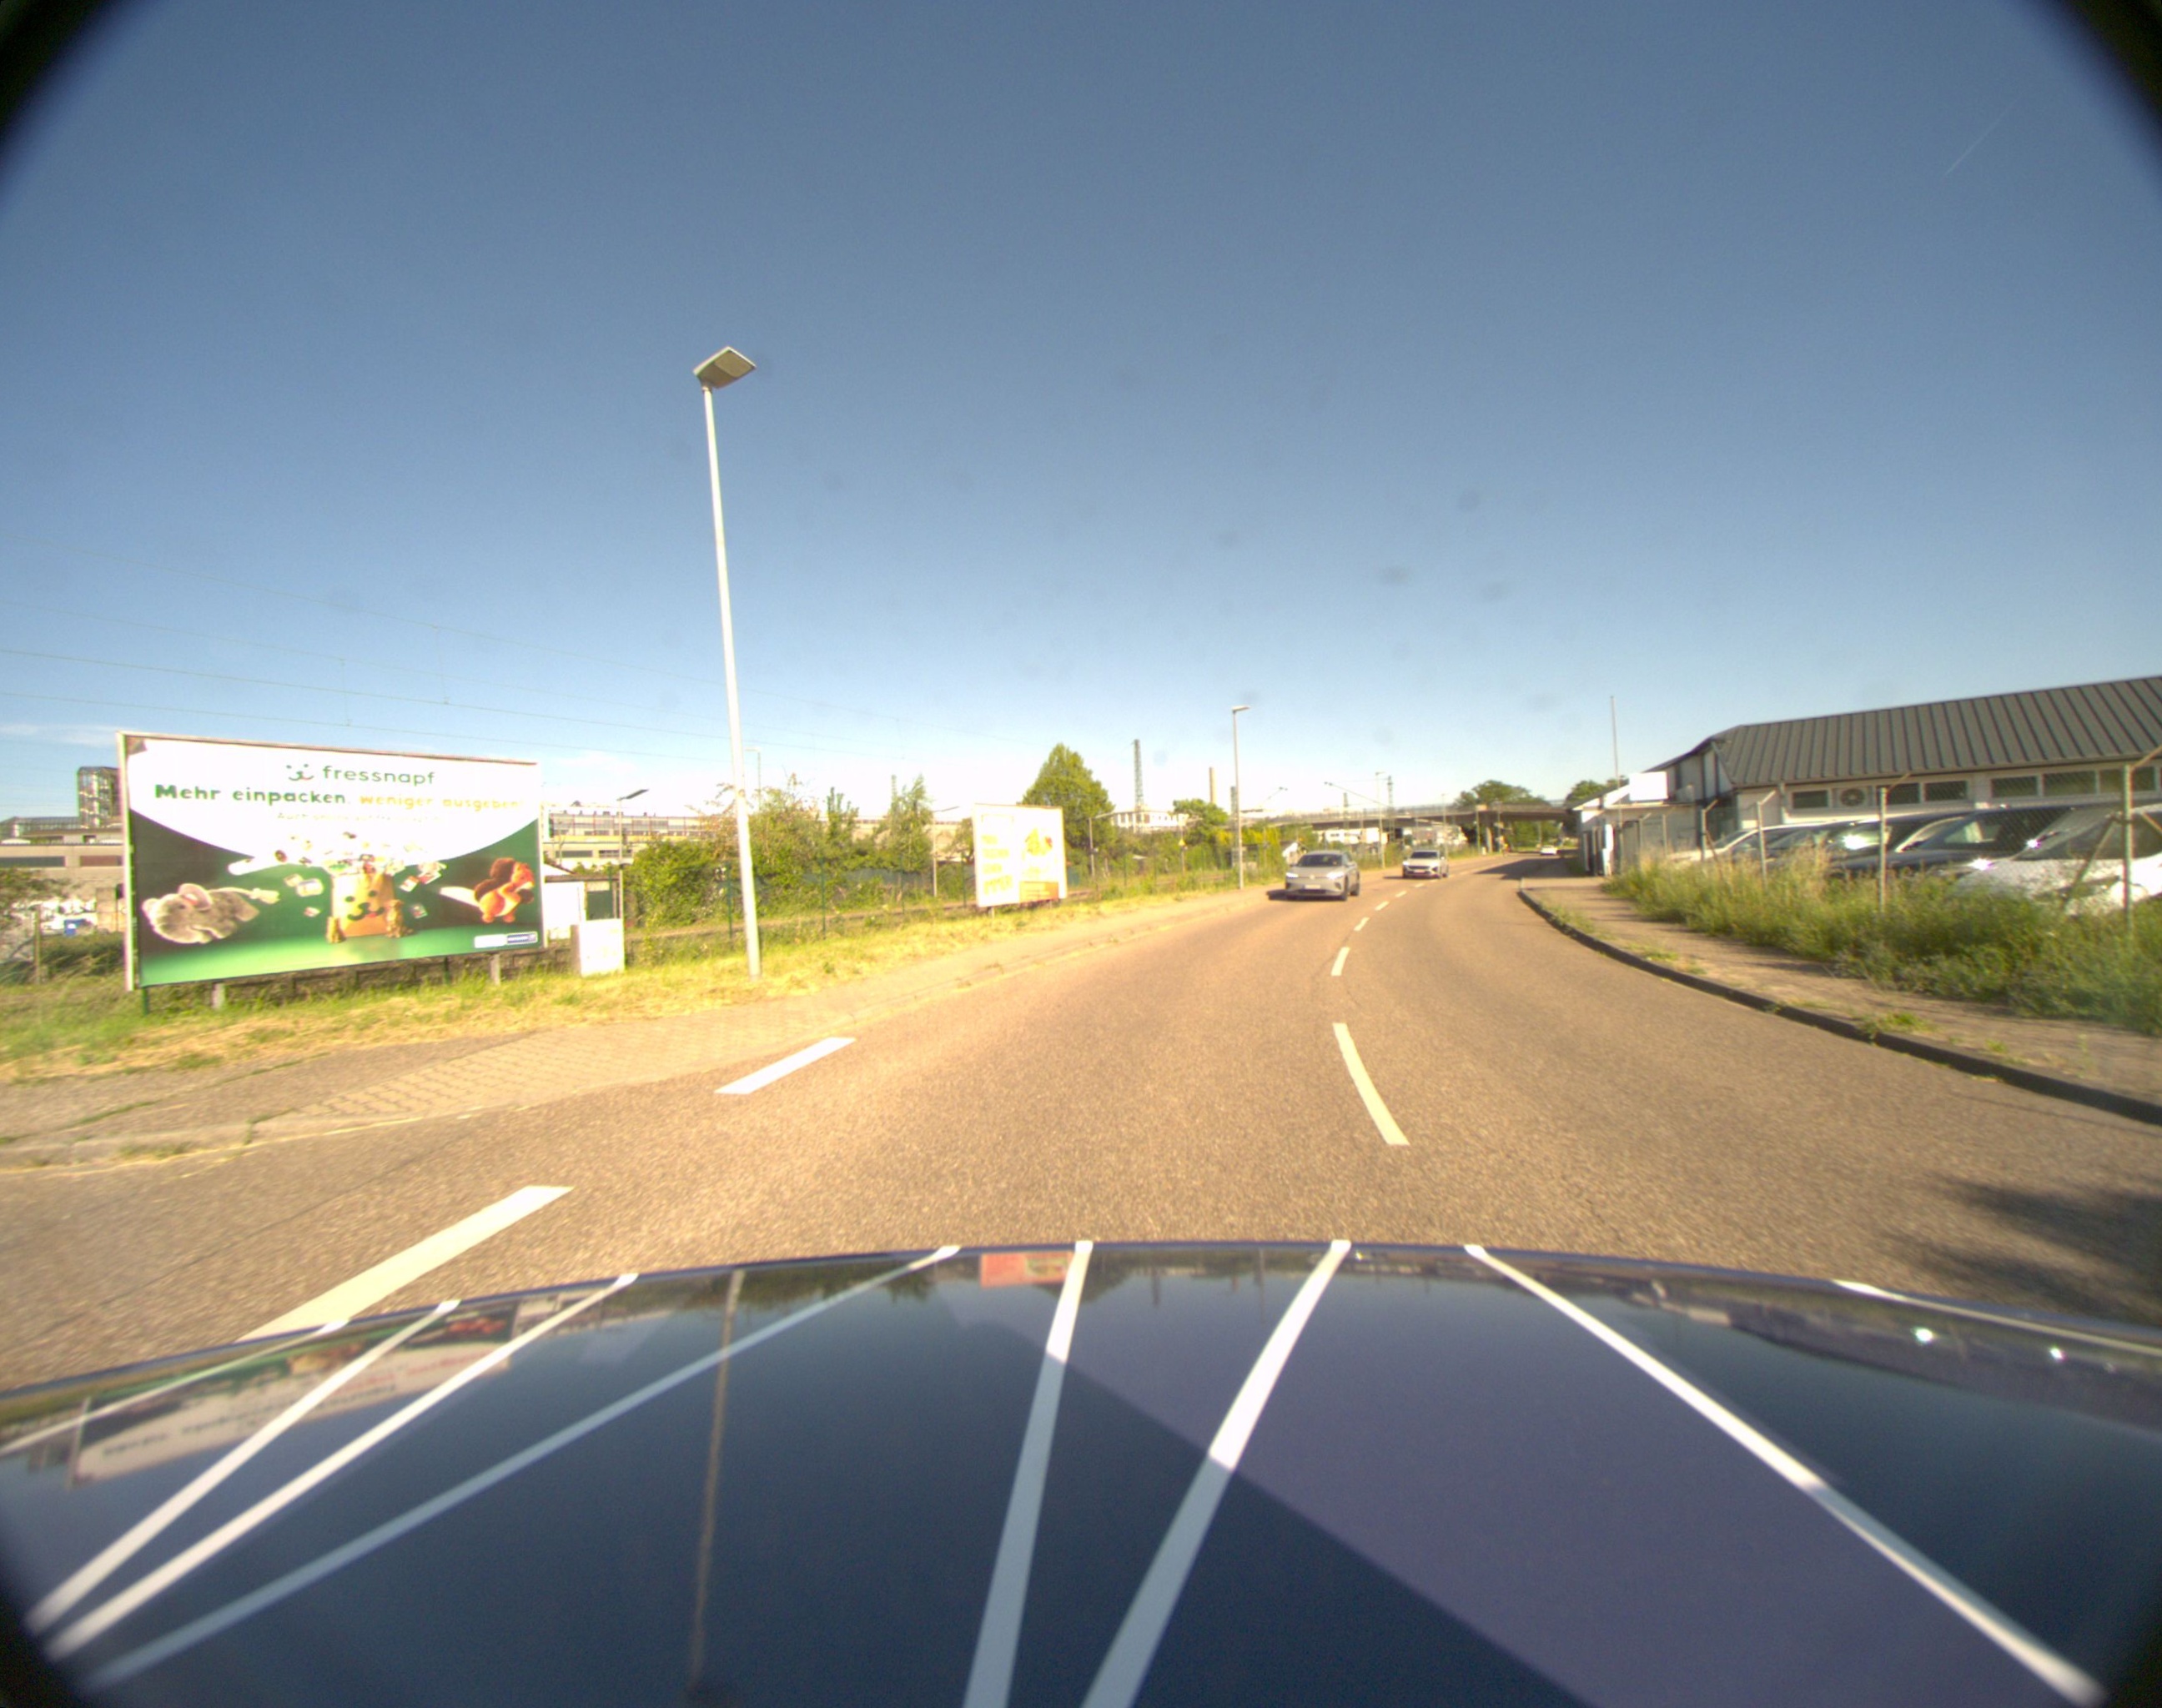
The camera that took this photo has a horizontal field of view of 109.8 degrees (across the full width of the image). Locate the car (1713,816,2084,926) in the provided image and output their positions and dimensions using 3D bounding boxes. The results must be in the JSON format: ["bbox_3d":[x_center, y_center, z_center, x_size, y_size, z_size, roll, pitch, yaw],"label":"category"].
[{"bbox_3d":[14.127,0.288,13.360,4.400,1.639,1.841,-2,0,2],"label":"car"}]

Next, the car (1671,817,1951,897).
[{"bbox_3d":[17.034,0.107,18.042,4.394,1.639,1.843,-2,0,22],"label":"car"}]

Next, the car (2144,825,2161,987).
[{"bbox_3d":[11.713,0.367,5.938,4.401,1.428,1.840,-2,0,-3],"label":"car"}]

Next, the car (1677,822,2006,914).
[{"bbox_3d":[15.300,0.313,15.631,4.394,1.639,1.843,-2,0,19],"label":"car"}]

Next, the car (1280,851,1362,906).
[{"bbox_3d":[8.118,0.743,25.444,1.846,1.621,4.303,0,1,28],"label":"car"}]

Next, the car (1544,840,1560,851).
[{"bbox_3d":[66.081,-1.155,106.479,1.809,1.469,4.697,0,1,33],"label":"car"}]

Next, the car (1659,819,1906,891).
[{"bbox_3d":[18.240,0.055,20.034,4.395,1.639,1.843,-2,0,18],"label":"car"}]

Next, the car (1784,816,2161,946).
[{"bbox_3d":[13.498,0.353,11.219,4.400,1.639,1.841,-2,0,2],"label":"car"}]

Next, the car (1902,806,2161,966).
[{"bbox_3d":[12.635,0.269,8.564,4.398,1.639,1.841,-2,0,8],"label":"car"}]

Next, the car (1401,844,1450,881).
[{"bbox_3d":[18.498,0.414,40.705,1.879,1.814,4.303,-1,1,31],"label":"car"}]
